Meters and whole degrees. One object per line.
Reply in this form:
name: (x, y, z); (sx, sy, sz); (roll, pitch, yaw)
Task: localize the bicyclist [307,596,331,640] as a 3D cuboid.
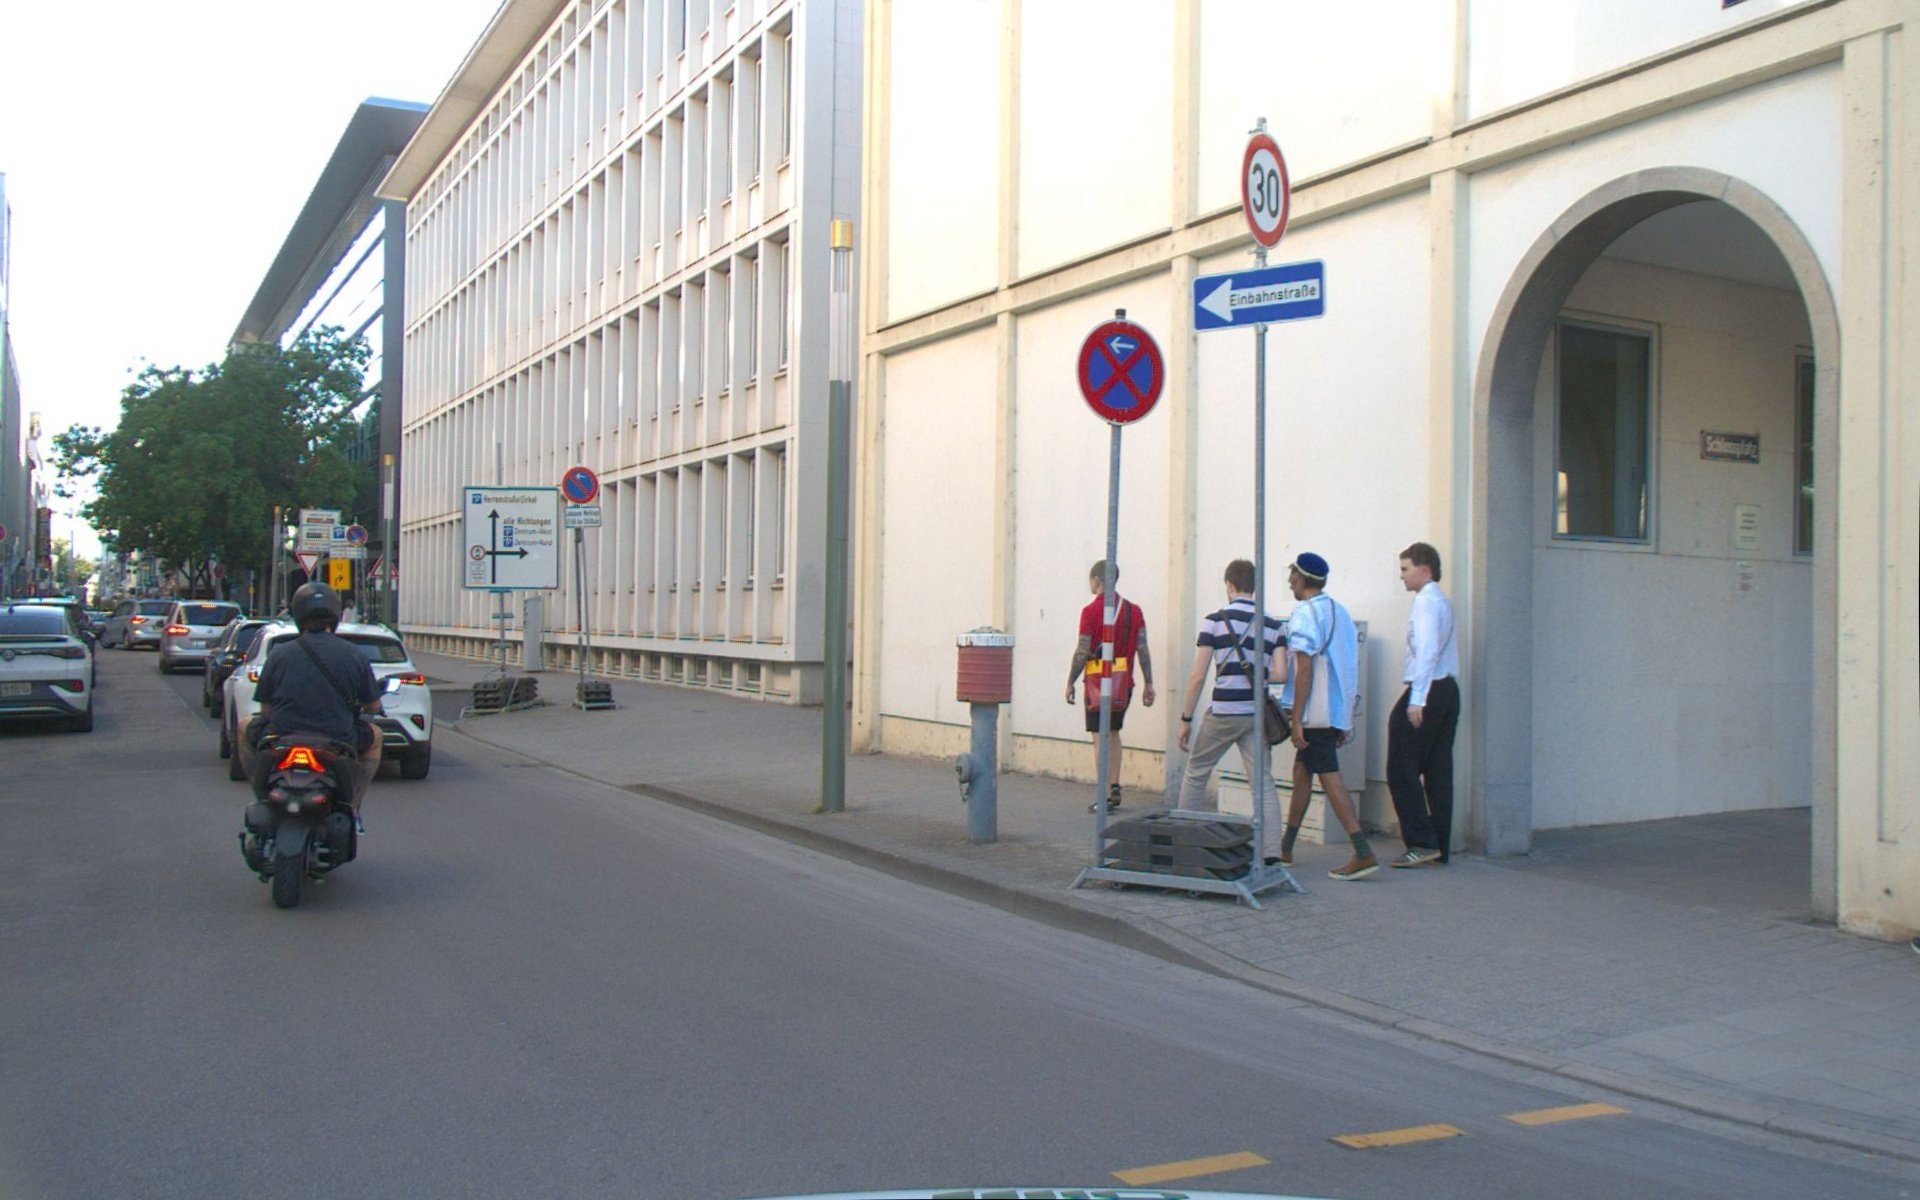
bicyclist: (-25.384, 0.699, 65.480); (0.733, 1.736, 0.736); (0, -1, -7)

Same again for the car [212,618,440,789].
car: (-6.580, 0.977, 16.919); (1.836, 1.498, 3.967); (3, -1, -26)

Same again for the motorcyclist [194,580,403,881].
motorcyclist: (-3.740, 0.698, 9.461); (0.938, 1.587, 1.234); (0, -1, -14)

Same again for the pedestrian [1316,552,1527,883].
pedestrian: (2.687, 0.645, 9.682); (0.701, 1.808, 0.932); (-2, 1, -29)

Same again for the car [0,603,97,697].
car: (-17.587, 0.916, 31.748); (1.790, 1.674, 3.483); (-1, 0, -28)

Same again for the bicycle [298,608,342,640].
bicycle: (-25.345, 0.943, 65.478); (1.534, 1.271, 0.551); (0, -1, -8)

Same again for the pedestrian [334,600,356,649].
pedestrian: (-20.585, 0.813, 55.380); (0.635, 1.629, 0.615); (0, -1, -26)

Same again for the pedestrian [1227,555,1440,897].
pedestrian: (2.107, 0.668, 9.394); (0.701, 1.808, 0.932); (-2, 1, -29)

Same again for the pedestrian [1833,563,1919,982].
pedestrian: (4.334, 0.717, 6.951); (0.666, 1.739, 0.959); (-2, 1, -28)

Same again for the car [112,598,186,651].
car: (-26.369, 0.793, 53.731); (1.878, 1.624, 3.959); (1, -1, -30)

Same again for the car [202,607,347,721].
car: (-10.549, 0.906, 25.301); (1.753, 1.577, 4.070); (0, 0, -27)

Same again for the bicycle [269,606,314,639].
bicycle: (-25.855, 0.866, 63.967); (1.534, 1.271, 0.551); (0, -1, -8)

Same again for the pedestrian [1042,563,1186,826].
pedestrian: (1.122, 0.660, 12.141); (0.701, 1.833, 0.768); (-2, 1, -29)

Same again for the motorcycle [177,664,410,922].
motorcycle: (-3.762, 1.011, 9.578); (0.890, 1.204, 2.569); (0, -1, -14)

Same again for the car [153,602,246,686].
car: (-18.061, 0.989, 39.185); (1.901, 1.889, 3.966); (0, 0, -26)

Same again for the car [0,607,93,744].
car: (-12.526, 0.932, 21.956); (1.790, 1.634, 4.228); (-1, 0, -28)

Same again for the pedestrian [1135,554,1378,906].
pedestrian: (1.660, 0.683, 9.415); (0.706, 1.833, 1.235); (-2, 1, -28)
